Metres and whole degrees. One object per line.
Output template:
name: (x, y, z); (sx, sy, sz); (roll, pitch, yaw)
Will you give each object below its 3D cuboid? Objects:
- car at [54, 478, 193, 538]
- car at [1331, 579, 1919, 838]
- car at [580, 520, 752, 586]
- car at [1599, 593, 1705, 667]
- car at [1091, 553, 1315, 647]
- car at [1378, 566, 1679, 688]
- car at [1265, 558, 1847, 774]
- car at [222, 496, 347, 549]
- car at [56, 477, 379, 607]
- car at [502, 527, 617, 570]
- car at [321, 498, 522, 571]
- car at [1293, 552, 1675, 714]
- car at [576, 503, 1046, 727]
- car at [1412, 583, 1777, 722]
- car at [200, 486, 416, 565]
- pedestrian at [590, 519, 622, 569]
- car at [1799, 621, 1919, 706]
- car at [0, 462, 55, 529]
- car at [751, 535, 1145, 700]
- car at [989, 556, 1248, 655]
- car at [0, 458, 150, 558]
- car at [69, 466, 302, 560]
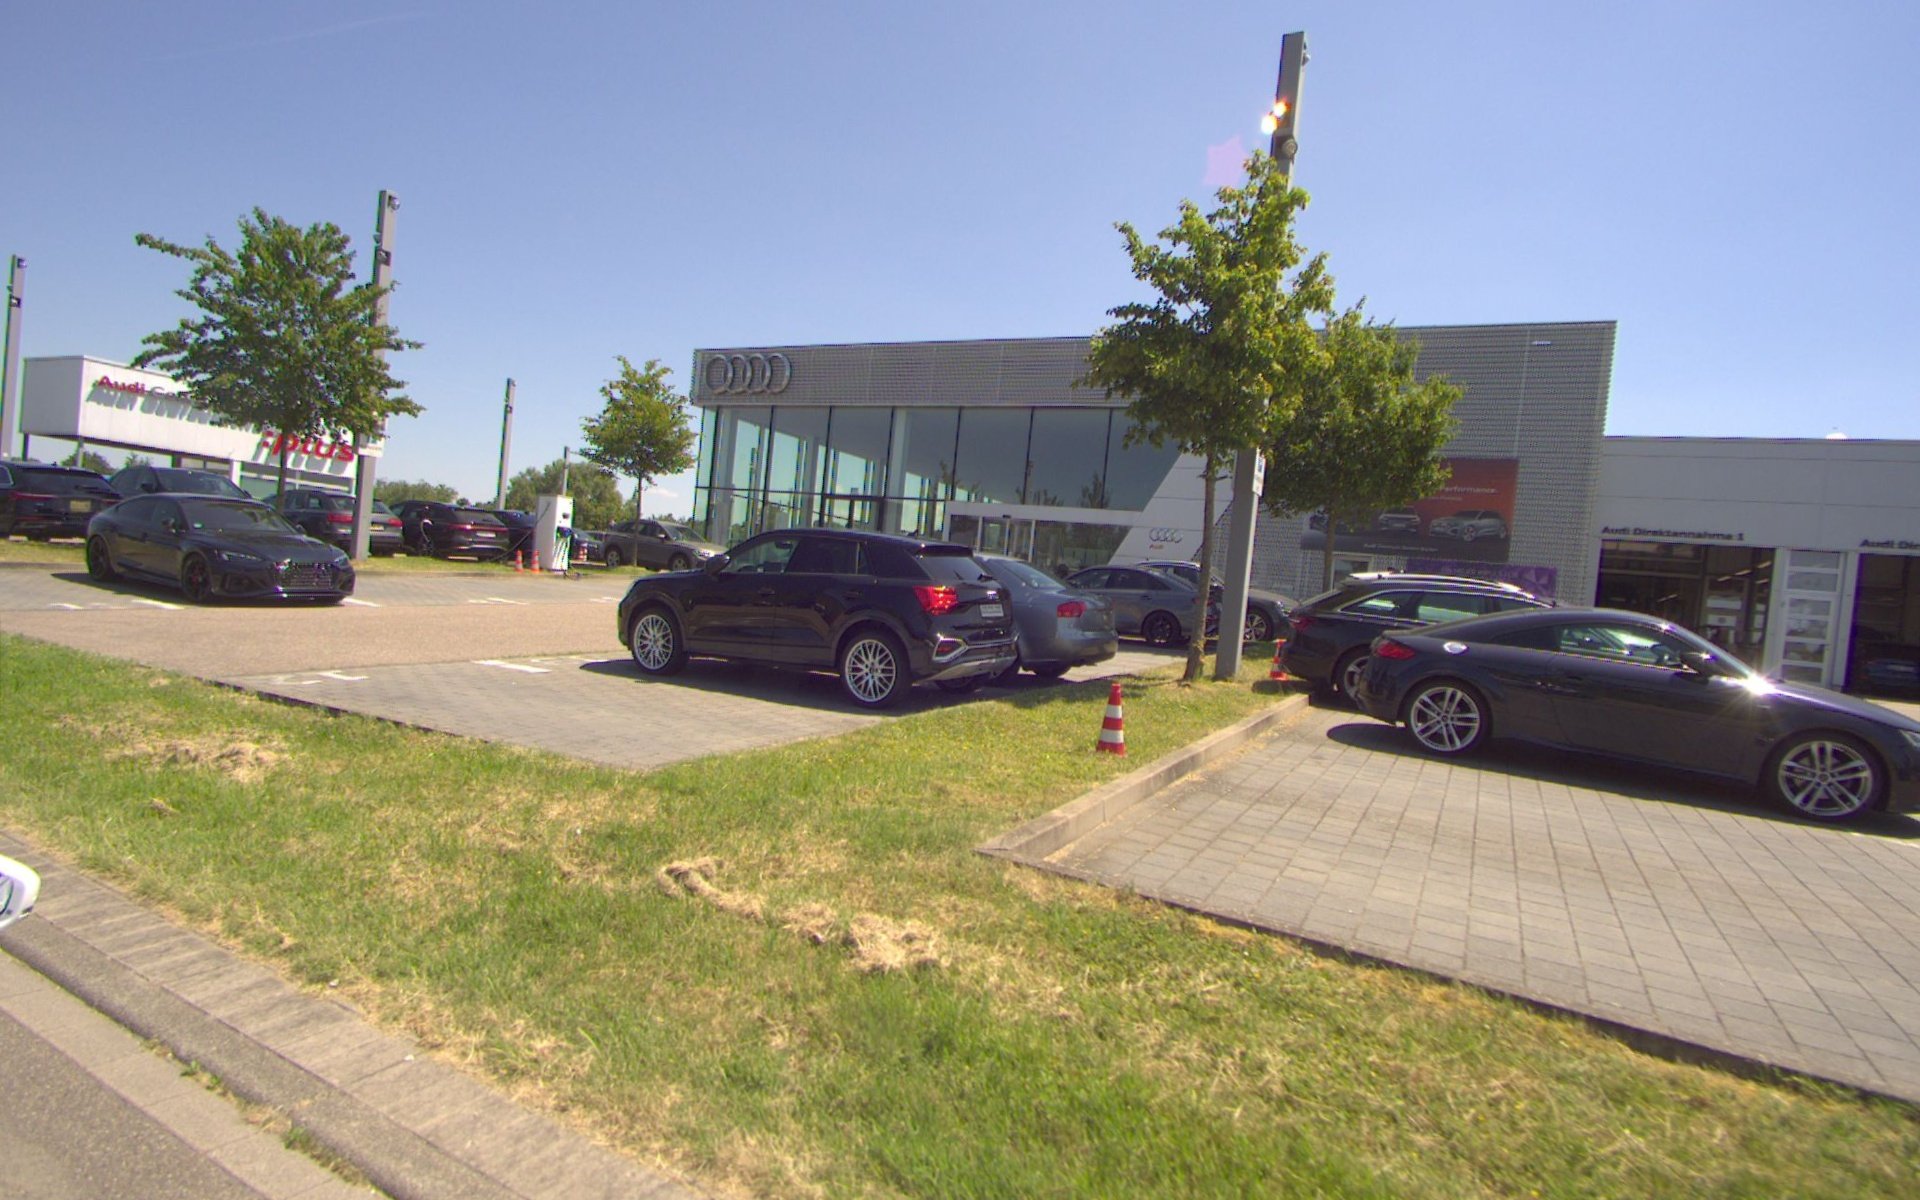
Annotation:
car: (-28.446, -3.125, 34.174); (4.697, 1.611, 2.026); (6, 2, 29)
car: (5.541, 0.761, 8.445); (4.236, 1.393, 1.963); (7, 3, 27)
car: (-8.777, -1.416, 29.944); (4.901, 1.642, 1.963); (4, 1, 28)
car: (19.694, 0.777, 28.808); (1.934, 1.767, 4.308); (6, 4, 29)
car: (5.354, -0.050, 22.305); (4.352, 1.614, 1.961); (6, 4, 30)
car: (10.694, 0.446, 19.298); (4.646, 1.762, 1.963); (6, 2, 27)
car: (6.113, 0.563, 11.014); (4.918, 1.574, 1.963); (6, 2, 27)
car: (-26.202, -3.013, 38.996); (4.697, 1.611, 2.027); (6, 2, 28)
car: (-10.794, -0.860, 14.566); (4.639, 1.386, 1.962); (7, 4, 28)
car: (-17.520, -2.255, 43.968); (4.818, 1.477, 2.025); (6, 3, 29)
car: (-13.279, -1.623, 24.739); (4.901, 1.476, 1.963); (4, 1, 28)
car: (6.981, 0.369, 13.802); (4.214, 1.635, 1.963); (6, 2, 27)
car: (-1.496, 0.030, 9.819); (4.154, 1.593, 1.888); (6, 4, 27)
car: (9.316, 0.698, 15.248); (4.296, 1.497, 1.963); (6, 2, 27)
car: (-14.748, -1.692, 22.708); (4.901, 1.476, 1.963); (4, 1, 28)
pedestrian: (-13.447, -2.140, 38.220); (0.733, 1.799, 0.770); (6, 2, 33)
car: (23.558, 1.583, 25.996); (1.934, 1.767, 4.239); (6, 4, 29)
car: (-26.096, -2.871, 26.373); (5.382, 1.595, 1.897); (6, 3, 29)
car: (-0.163, 0.112, 11.886); (4.154, 1.385, 1.962); (6, 3, 27)
car: (2.983, 0.052, 19.104); (4.389, 1.385, 1.962); (6, 3, 27)
car: (-17.085, -1.670, 18.260); (4.901, 1.476, 1.963); (4, 1, 28)
car: (-15.978, -1.802, 20.709); (4.901, 1.619, 1.963); (4, 1, 28)
